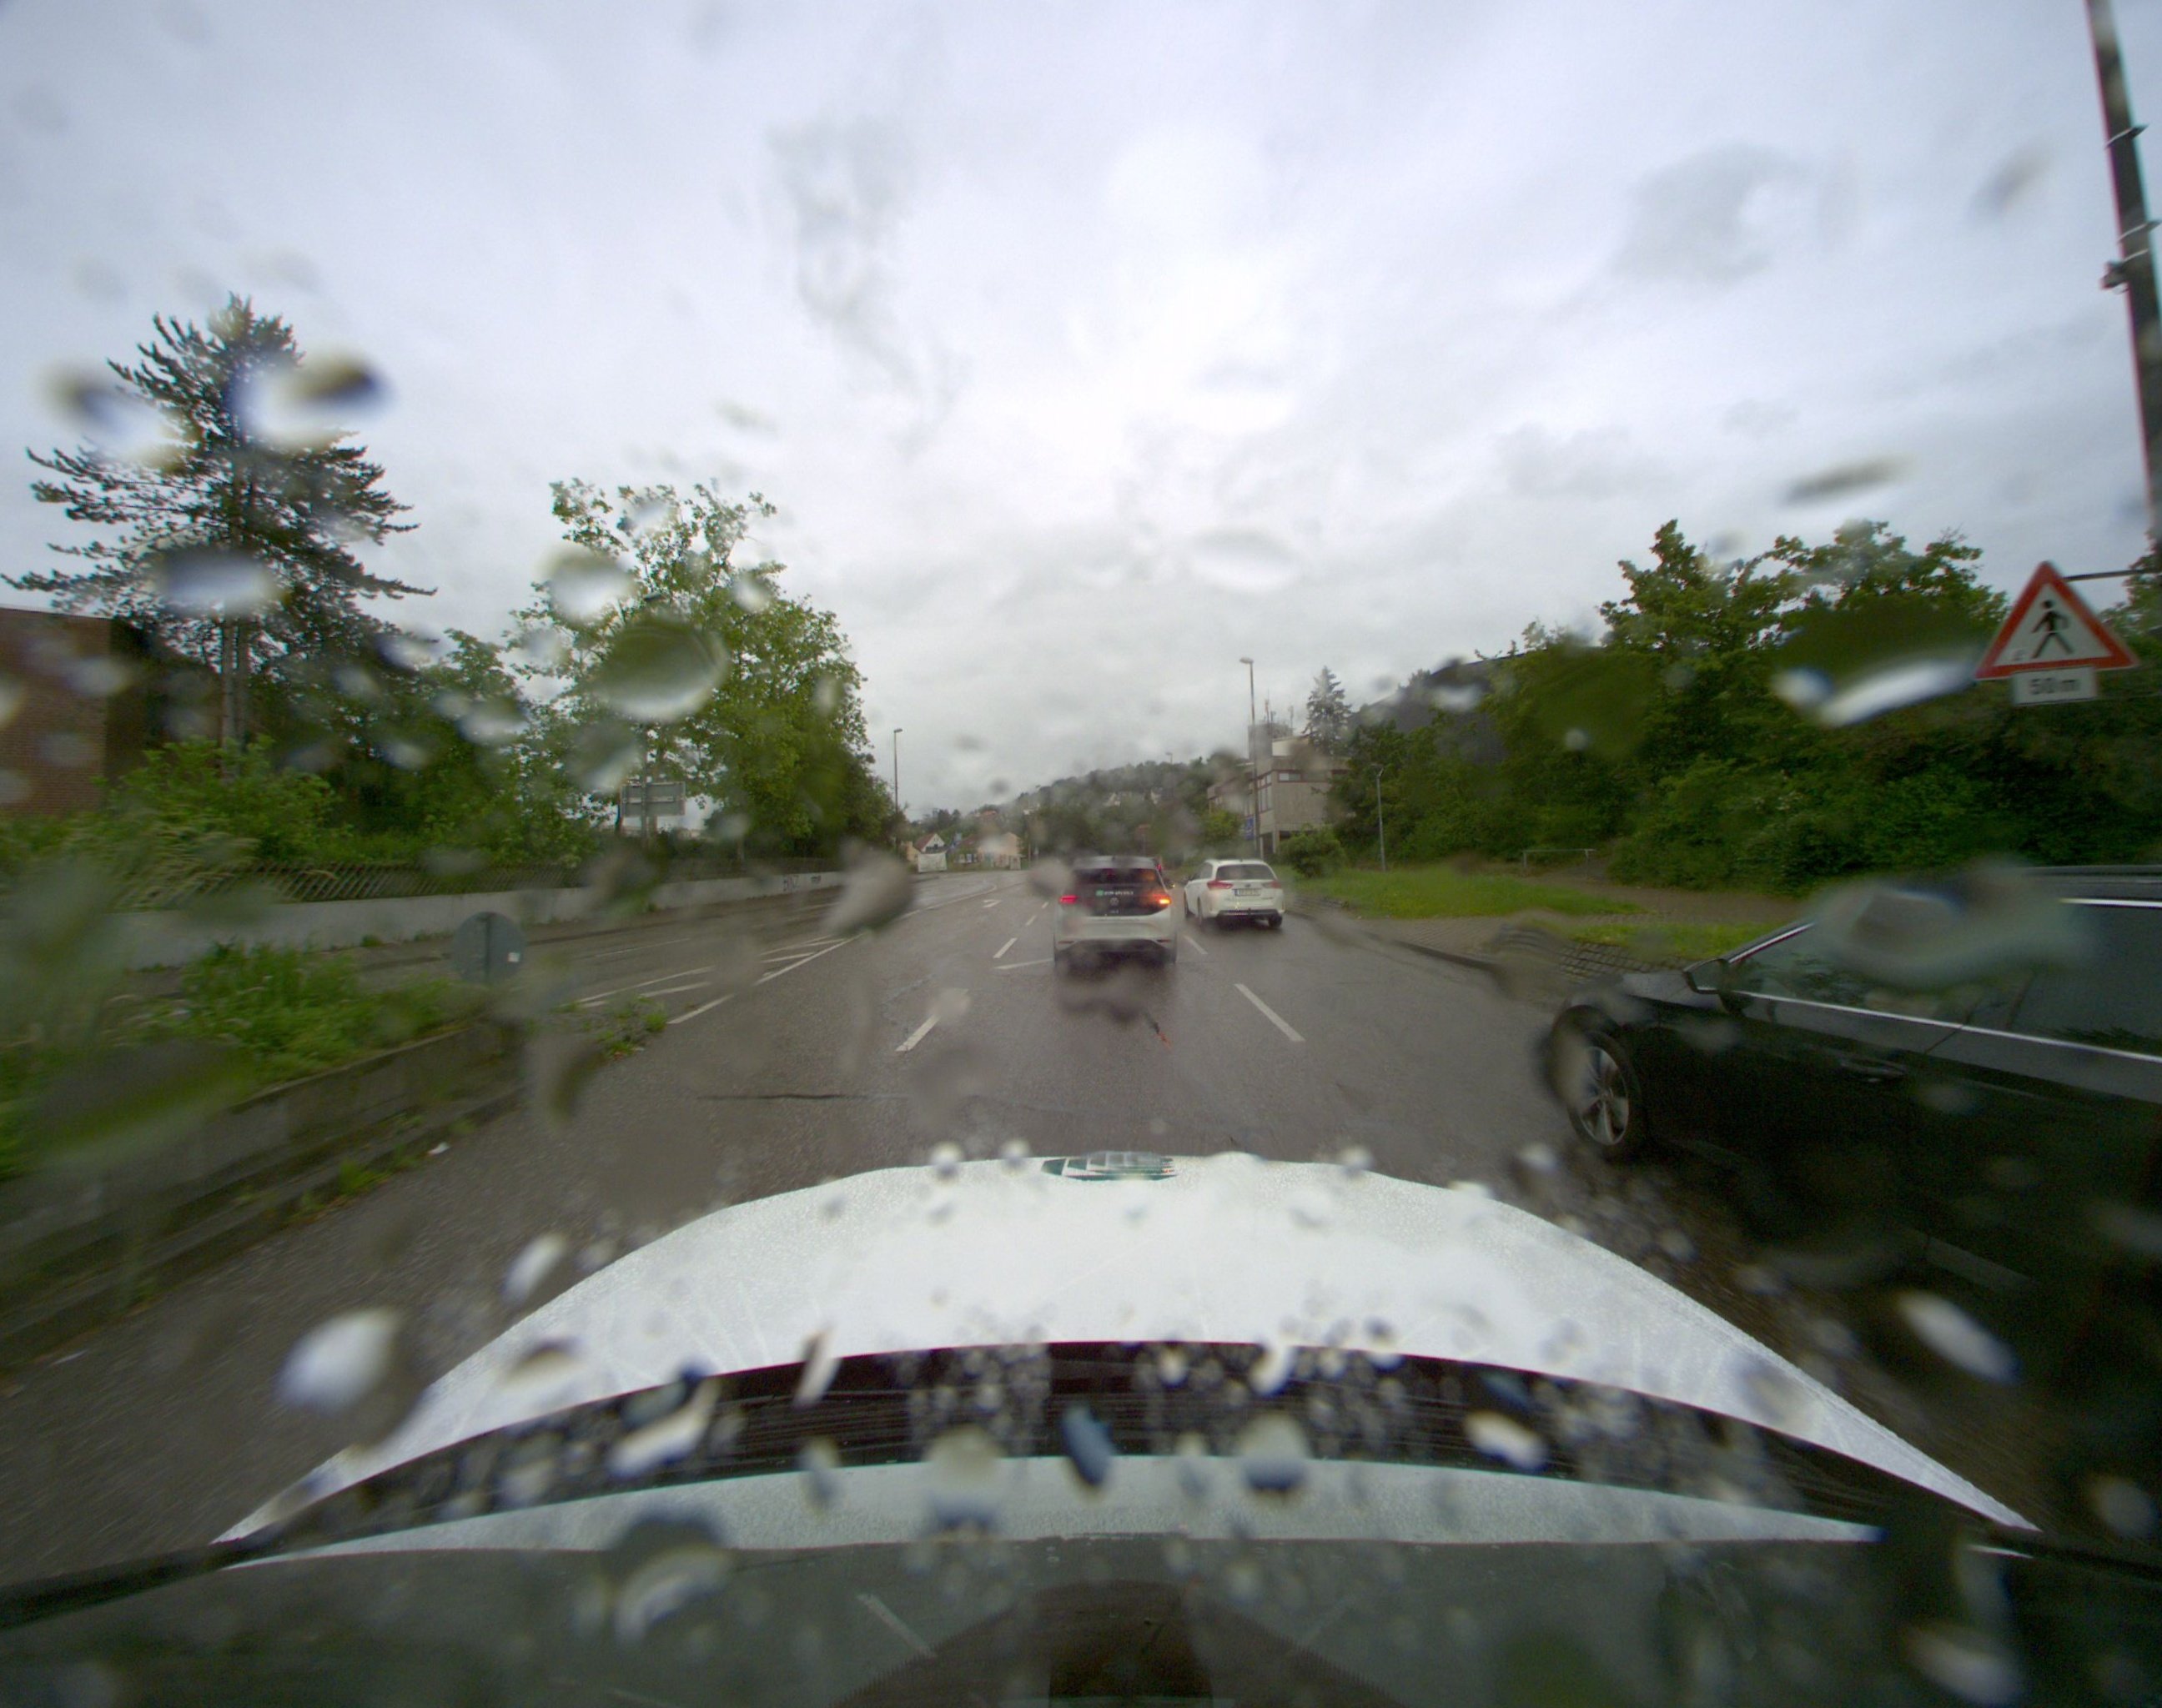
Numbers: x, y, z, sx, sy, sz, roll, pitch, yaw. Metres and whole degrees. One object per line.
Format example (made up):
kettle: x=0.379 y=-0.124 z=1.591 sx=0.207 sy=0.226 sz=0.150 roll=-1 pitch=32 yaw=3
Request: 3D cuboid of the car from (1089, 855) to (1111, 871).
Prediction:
car: x=2.347 y=1.119 z=99.951 sx=1.981 sy=2.014 sz=4.012 roll=0 pitch=-1 yaw=11

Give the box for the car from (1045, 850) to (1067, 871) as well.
car: x=-2.484 y=0.697 z=82.323 sx=1.985 sy=2.014 sz=4.002 roll=0 pitch=-1 yaw=2

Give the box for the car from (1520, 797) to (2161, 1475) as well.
car: x=3.411 y=0.655 z=2.369 sx=1.946 sy=1.507 sz=4.611 roll=1 pitch=-1 yaw=2

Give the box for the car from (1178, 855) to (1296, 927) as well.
car: x=3.346 y=0.778 z=18.268 sx=1.842 sy=1.410 sz=4.301 roll=-1 pitch=-1 yaw=0

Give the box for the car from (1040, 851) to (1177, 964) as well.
car: x=0.529 y=0.760 z=12.988 sx=1.820 sy=1.500 sz=4.173 roll=-1 pitch=-1 yaw=4

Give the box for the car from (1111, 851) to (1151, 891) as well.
car: x=2.049 y=0.683 z=34.412 sx=1.561 sy=1.530 sz=4.002 roll=-1 pitch=0 yaw=2

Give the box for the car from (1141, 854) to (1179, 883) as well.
car: x=4.442 y=0.826 z=46.119 sx=1.984 sy=1.453 sz=3.775 roll=-4 pitch=-1 yaw=4
